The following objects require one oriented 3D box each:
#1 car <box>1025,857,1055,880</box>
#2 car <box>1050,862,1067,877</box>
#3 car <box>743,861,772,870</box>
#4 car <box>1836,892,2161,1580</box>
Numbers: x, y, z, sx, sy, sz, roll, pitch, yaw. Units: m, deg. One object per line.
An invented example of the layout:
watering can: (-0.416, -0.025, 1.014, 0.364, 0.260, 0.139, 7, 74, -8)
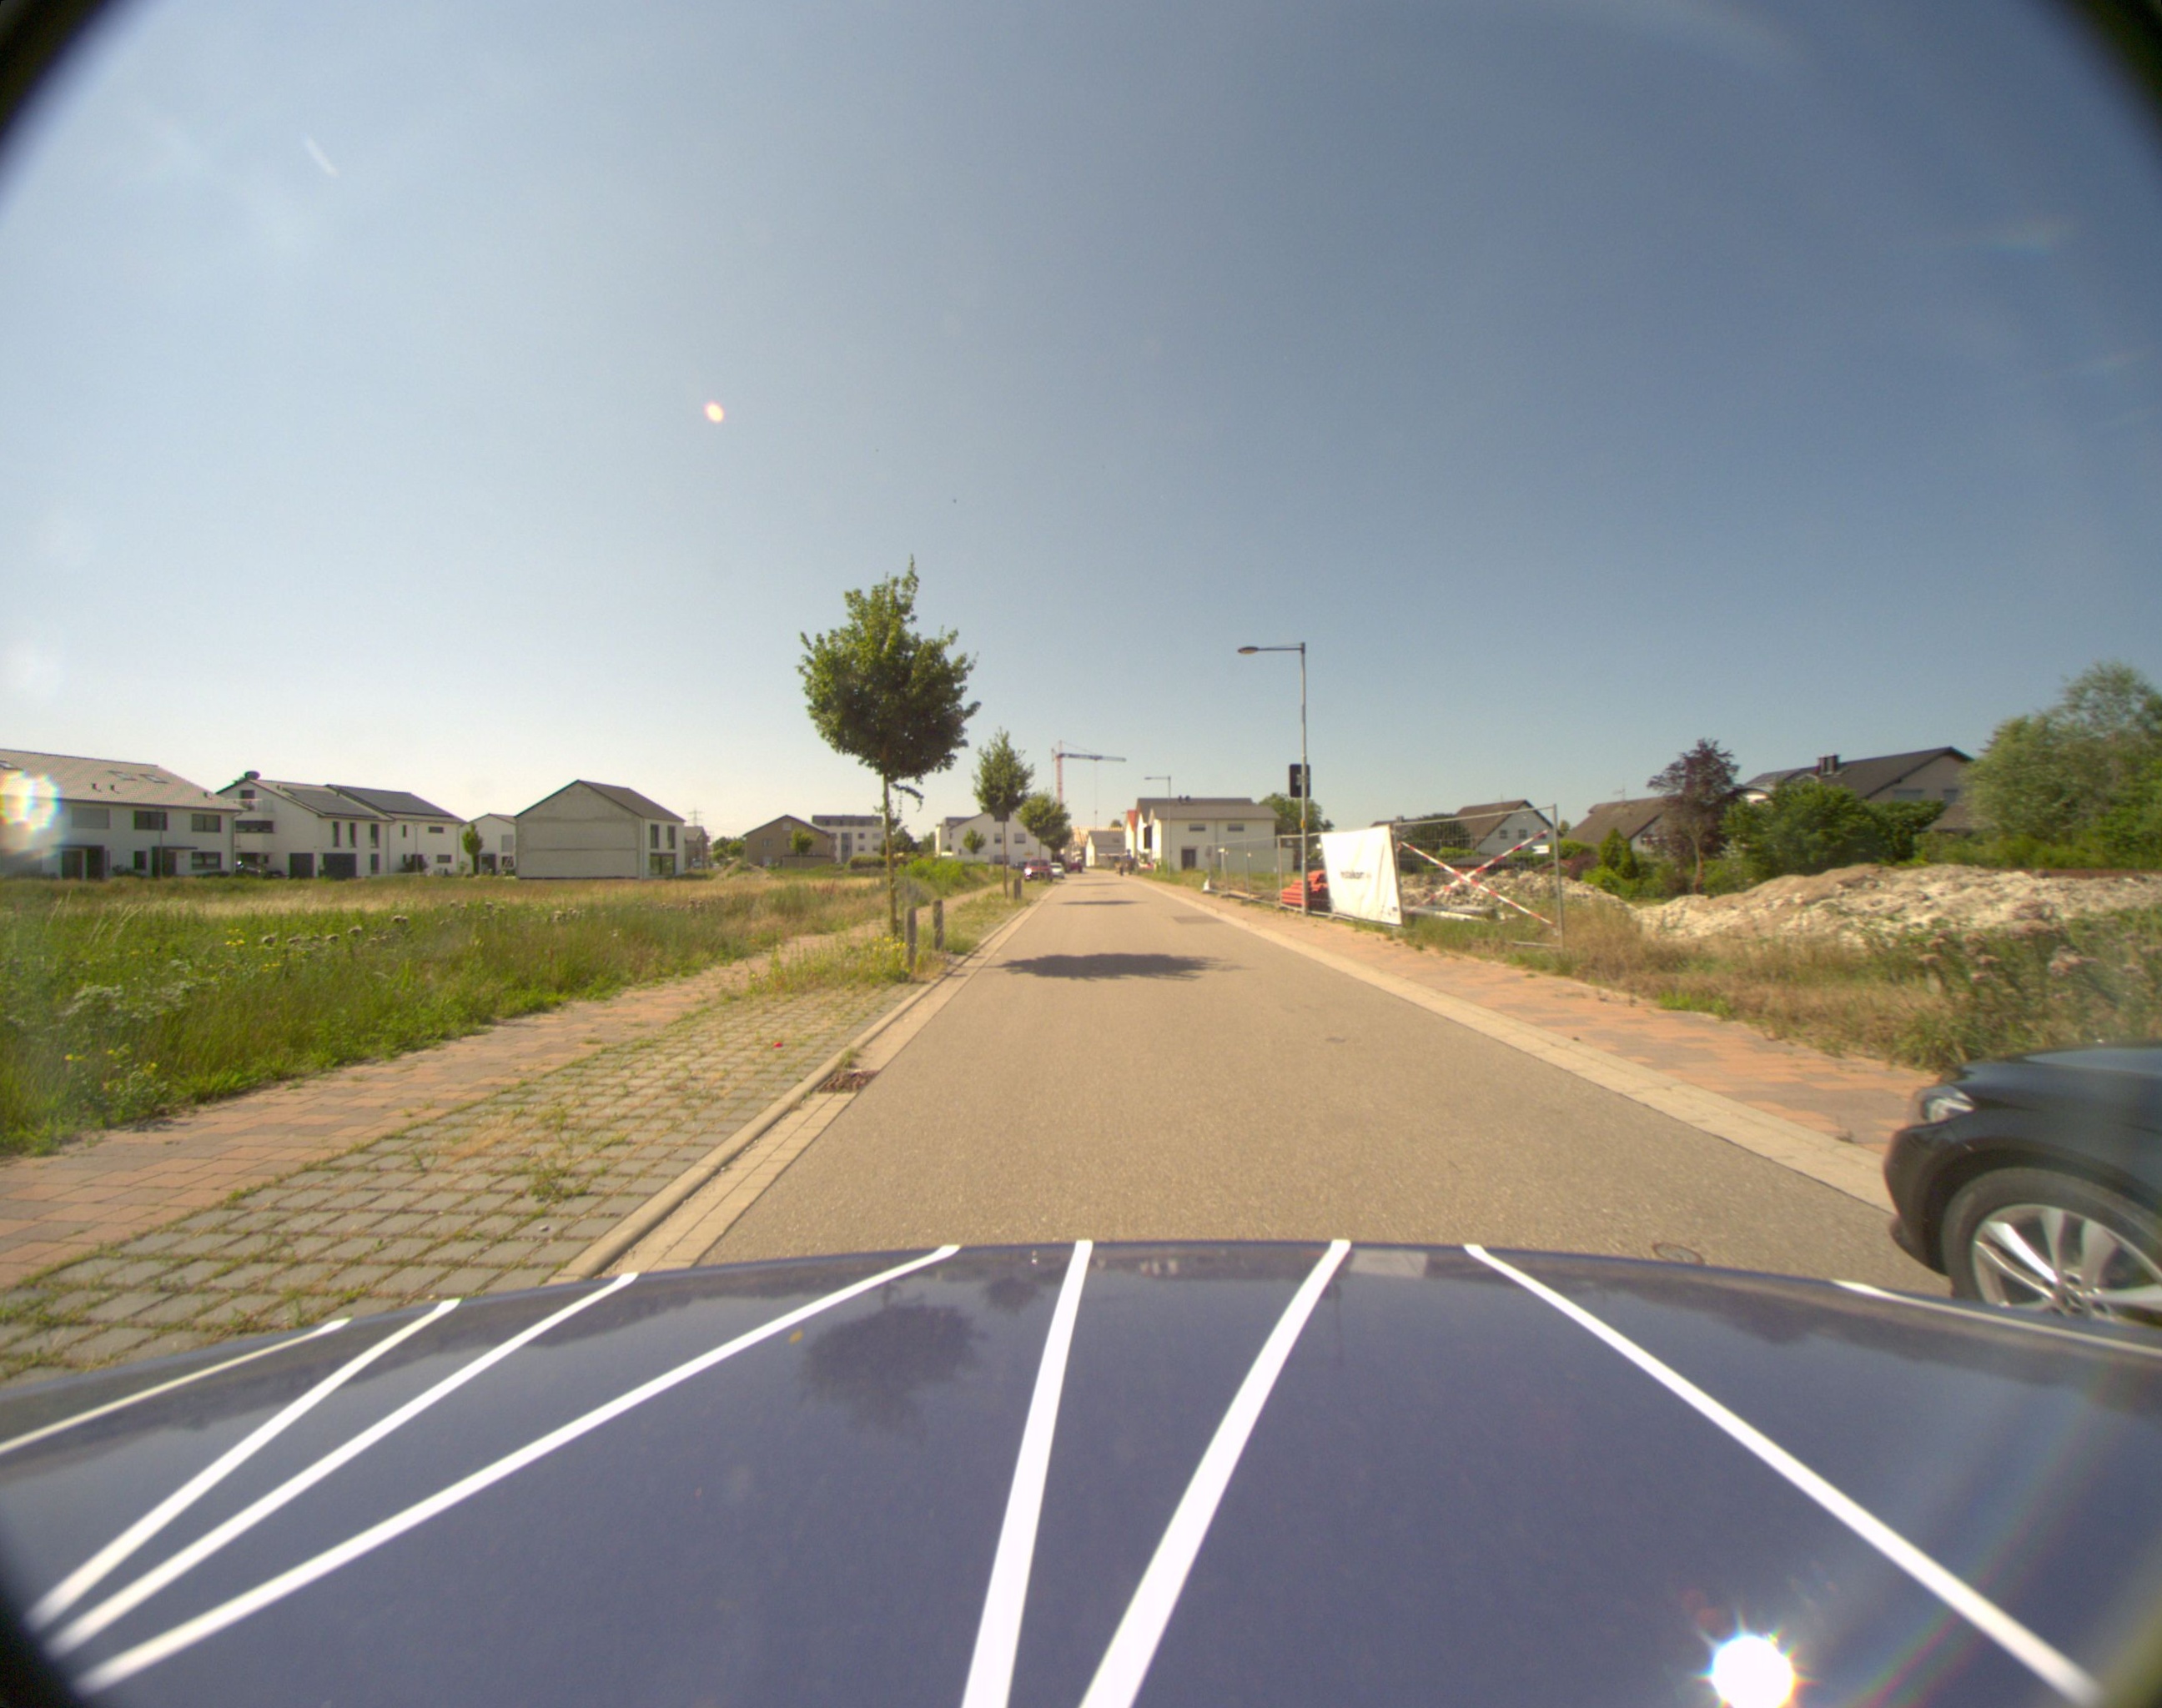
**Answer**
car: (-2.754, 0.955, 51.727, 1.769, 1.483, 4.000, -1, 0, 0)
car: (-2.077, 1.437, 71.509, 1.493, 1.389, 3.272, -1, 0, 0)
car: (-51.403, 1.790, 120.798, 4.000, 1.444, 1.633, 0, 0, -8)
car: (3.219, 0.849, 0.150, 1.695, 1.464, 4.445, -3, 0, 1)
